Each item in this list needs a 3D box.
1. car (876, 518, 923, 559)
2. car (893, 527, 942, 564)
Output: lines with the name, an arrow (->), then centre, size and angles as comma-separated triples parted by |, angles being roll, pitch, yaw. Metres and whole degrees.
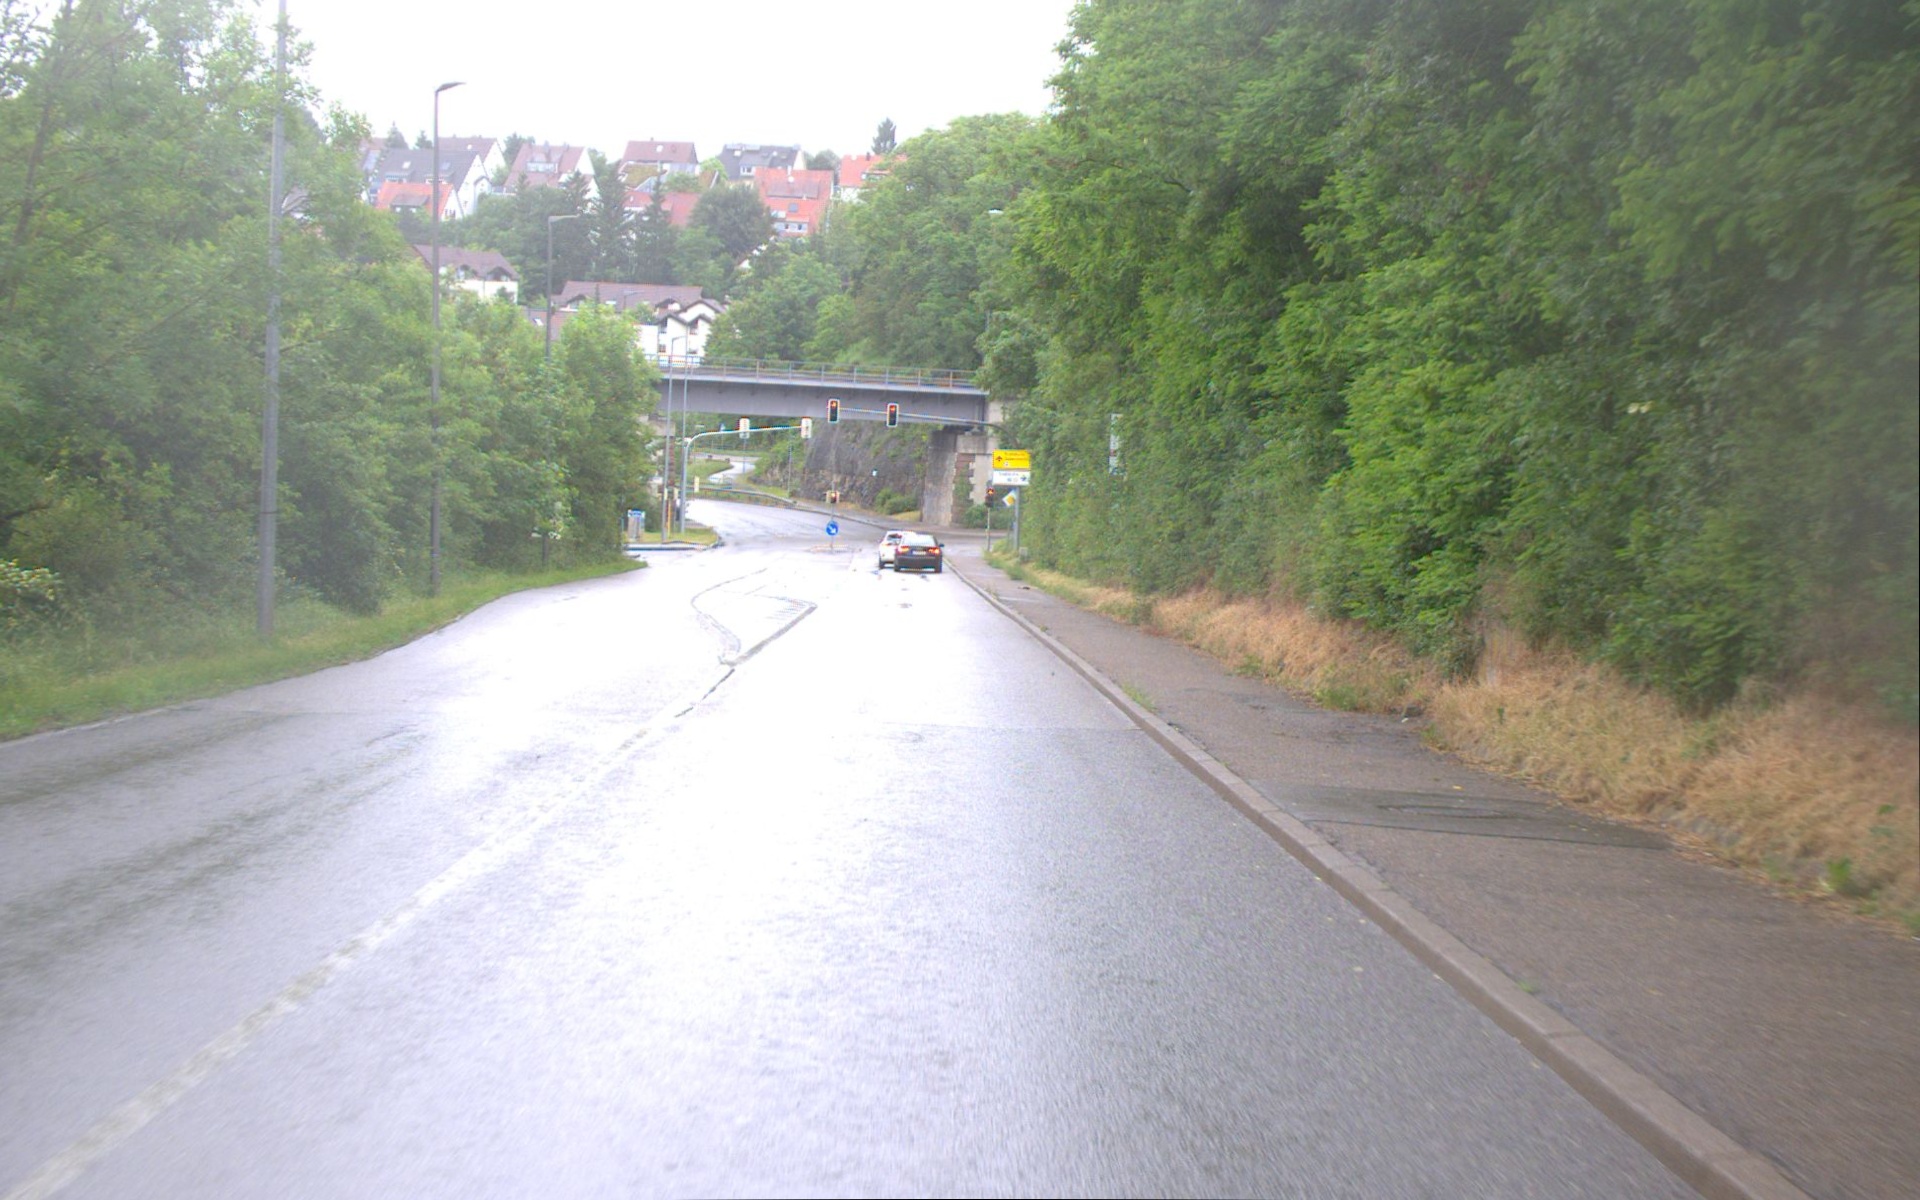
car -> -2.372, -2.436, 135.561 | 1.768, 1.557, 4.000 | 1, 1, 0
car -> -1.577, -2.046, 128.882 | 1.768, 1.375, 4.000 | 1, 1, 0
